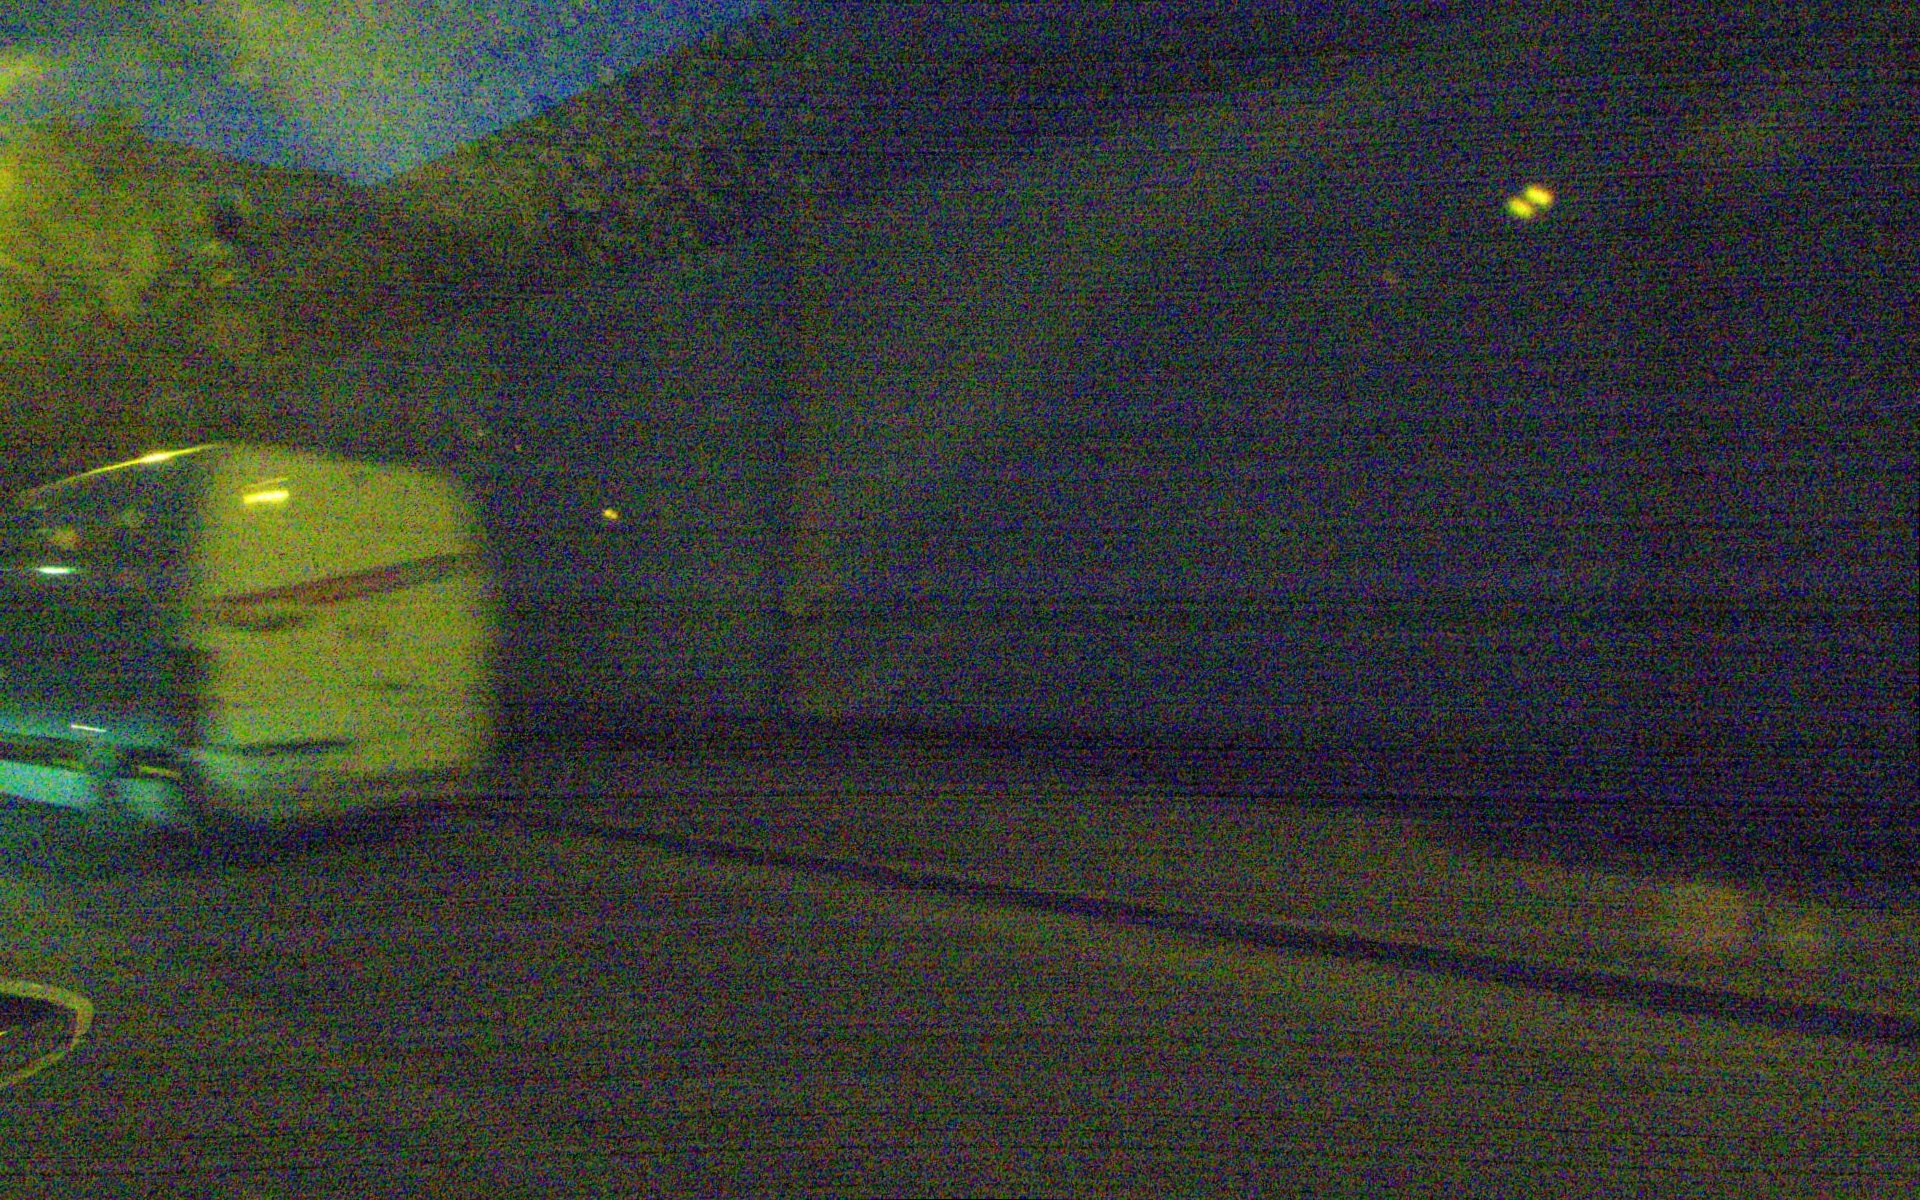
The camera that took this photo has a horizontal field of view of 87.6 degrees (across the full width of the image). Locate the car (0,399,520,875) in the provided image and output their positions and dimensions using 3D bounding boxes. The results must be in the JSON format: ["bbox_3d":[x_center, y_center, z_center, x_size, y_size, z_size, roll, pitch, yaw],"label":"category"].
[{"bbox_3d":[-6.218,0.311,7.909,5.928,2.602,1.991,-1,-4,32],"label":"car"}]

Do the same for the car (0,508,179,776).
[{"bbox_3d":[-11.696,0.484,11.521,5.820,2.602,2.127,-1,-4,29],"label":"car"}]
